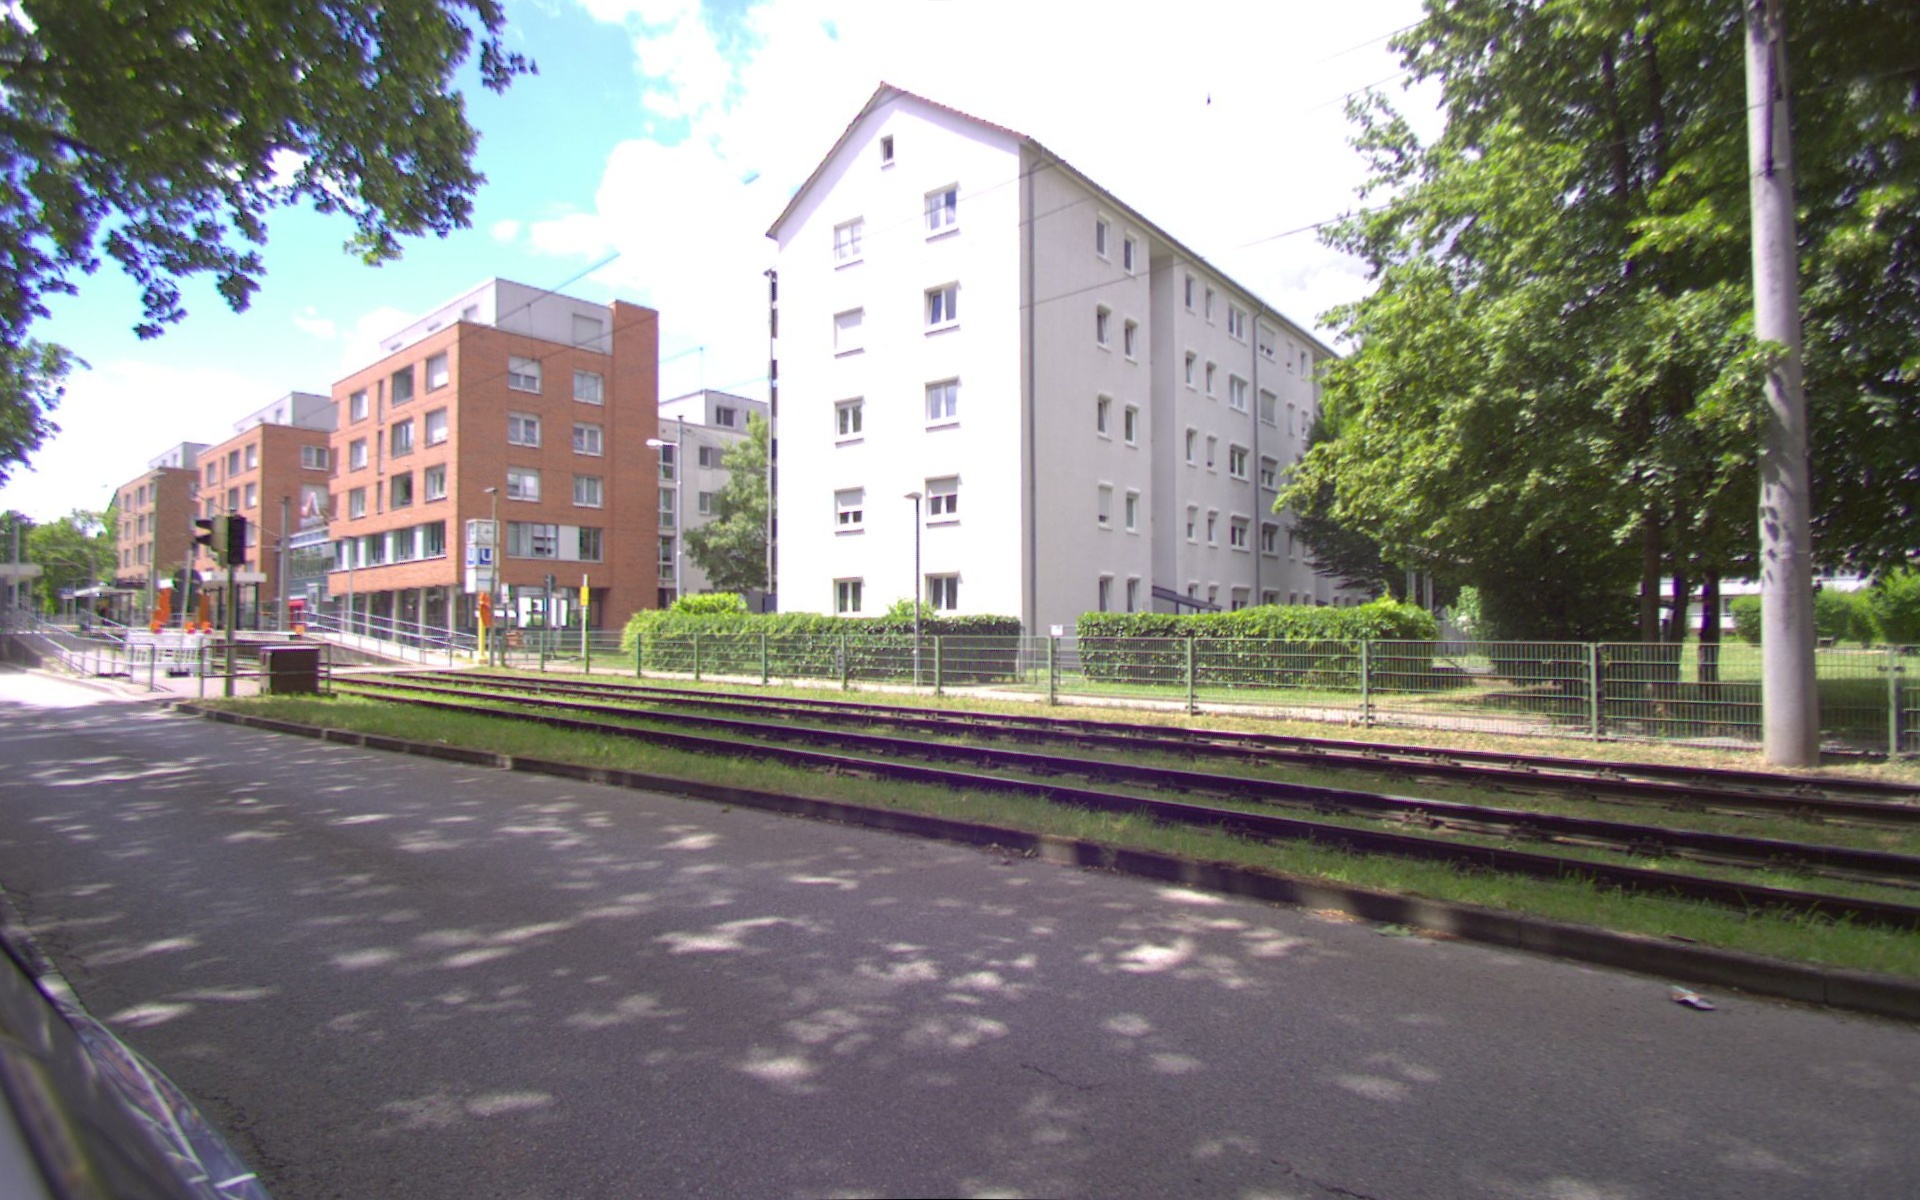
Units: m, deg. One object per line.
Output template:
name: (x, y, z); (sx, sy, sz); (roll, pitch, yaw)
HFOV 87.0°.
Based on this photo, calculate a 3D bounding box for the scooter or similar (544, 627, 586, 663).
scooter or similar: (-13.923, 1.590, 35.723); (1.280, 1.263, 0.466); (2, -3, -39)

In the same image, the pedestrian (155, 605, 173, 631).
pedestrian: (-49.944, 1.144, 63.520); (0.815, 1.641, 0.743); (-1, -1, 41)

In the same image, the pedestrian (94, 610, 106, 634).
pedestrian: (-64.748, 1.657, 76.214); (0.527, 1.777, 0.529); (-1, -2, 38)
